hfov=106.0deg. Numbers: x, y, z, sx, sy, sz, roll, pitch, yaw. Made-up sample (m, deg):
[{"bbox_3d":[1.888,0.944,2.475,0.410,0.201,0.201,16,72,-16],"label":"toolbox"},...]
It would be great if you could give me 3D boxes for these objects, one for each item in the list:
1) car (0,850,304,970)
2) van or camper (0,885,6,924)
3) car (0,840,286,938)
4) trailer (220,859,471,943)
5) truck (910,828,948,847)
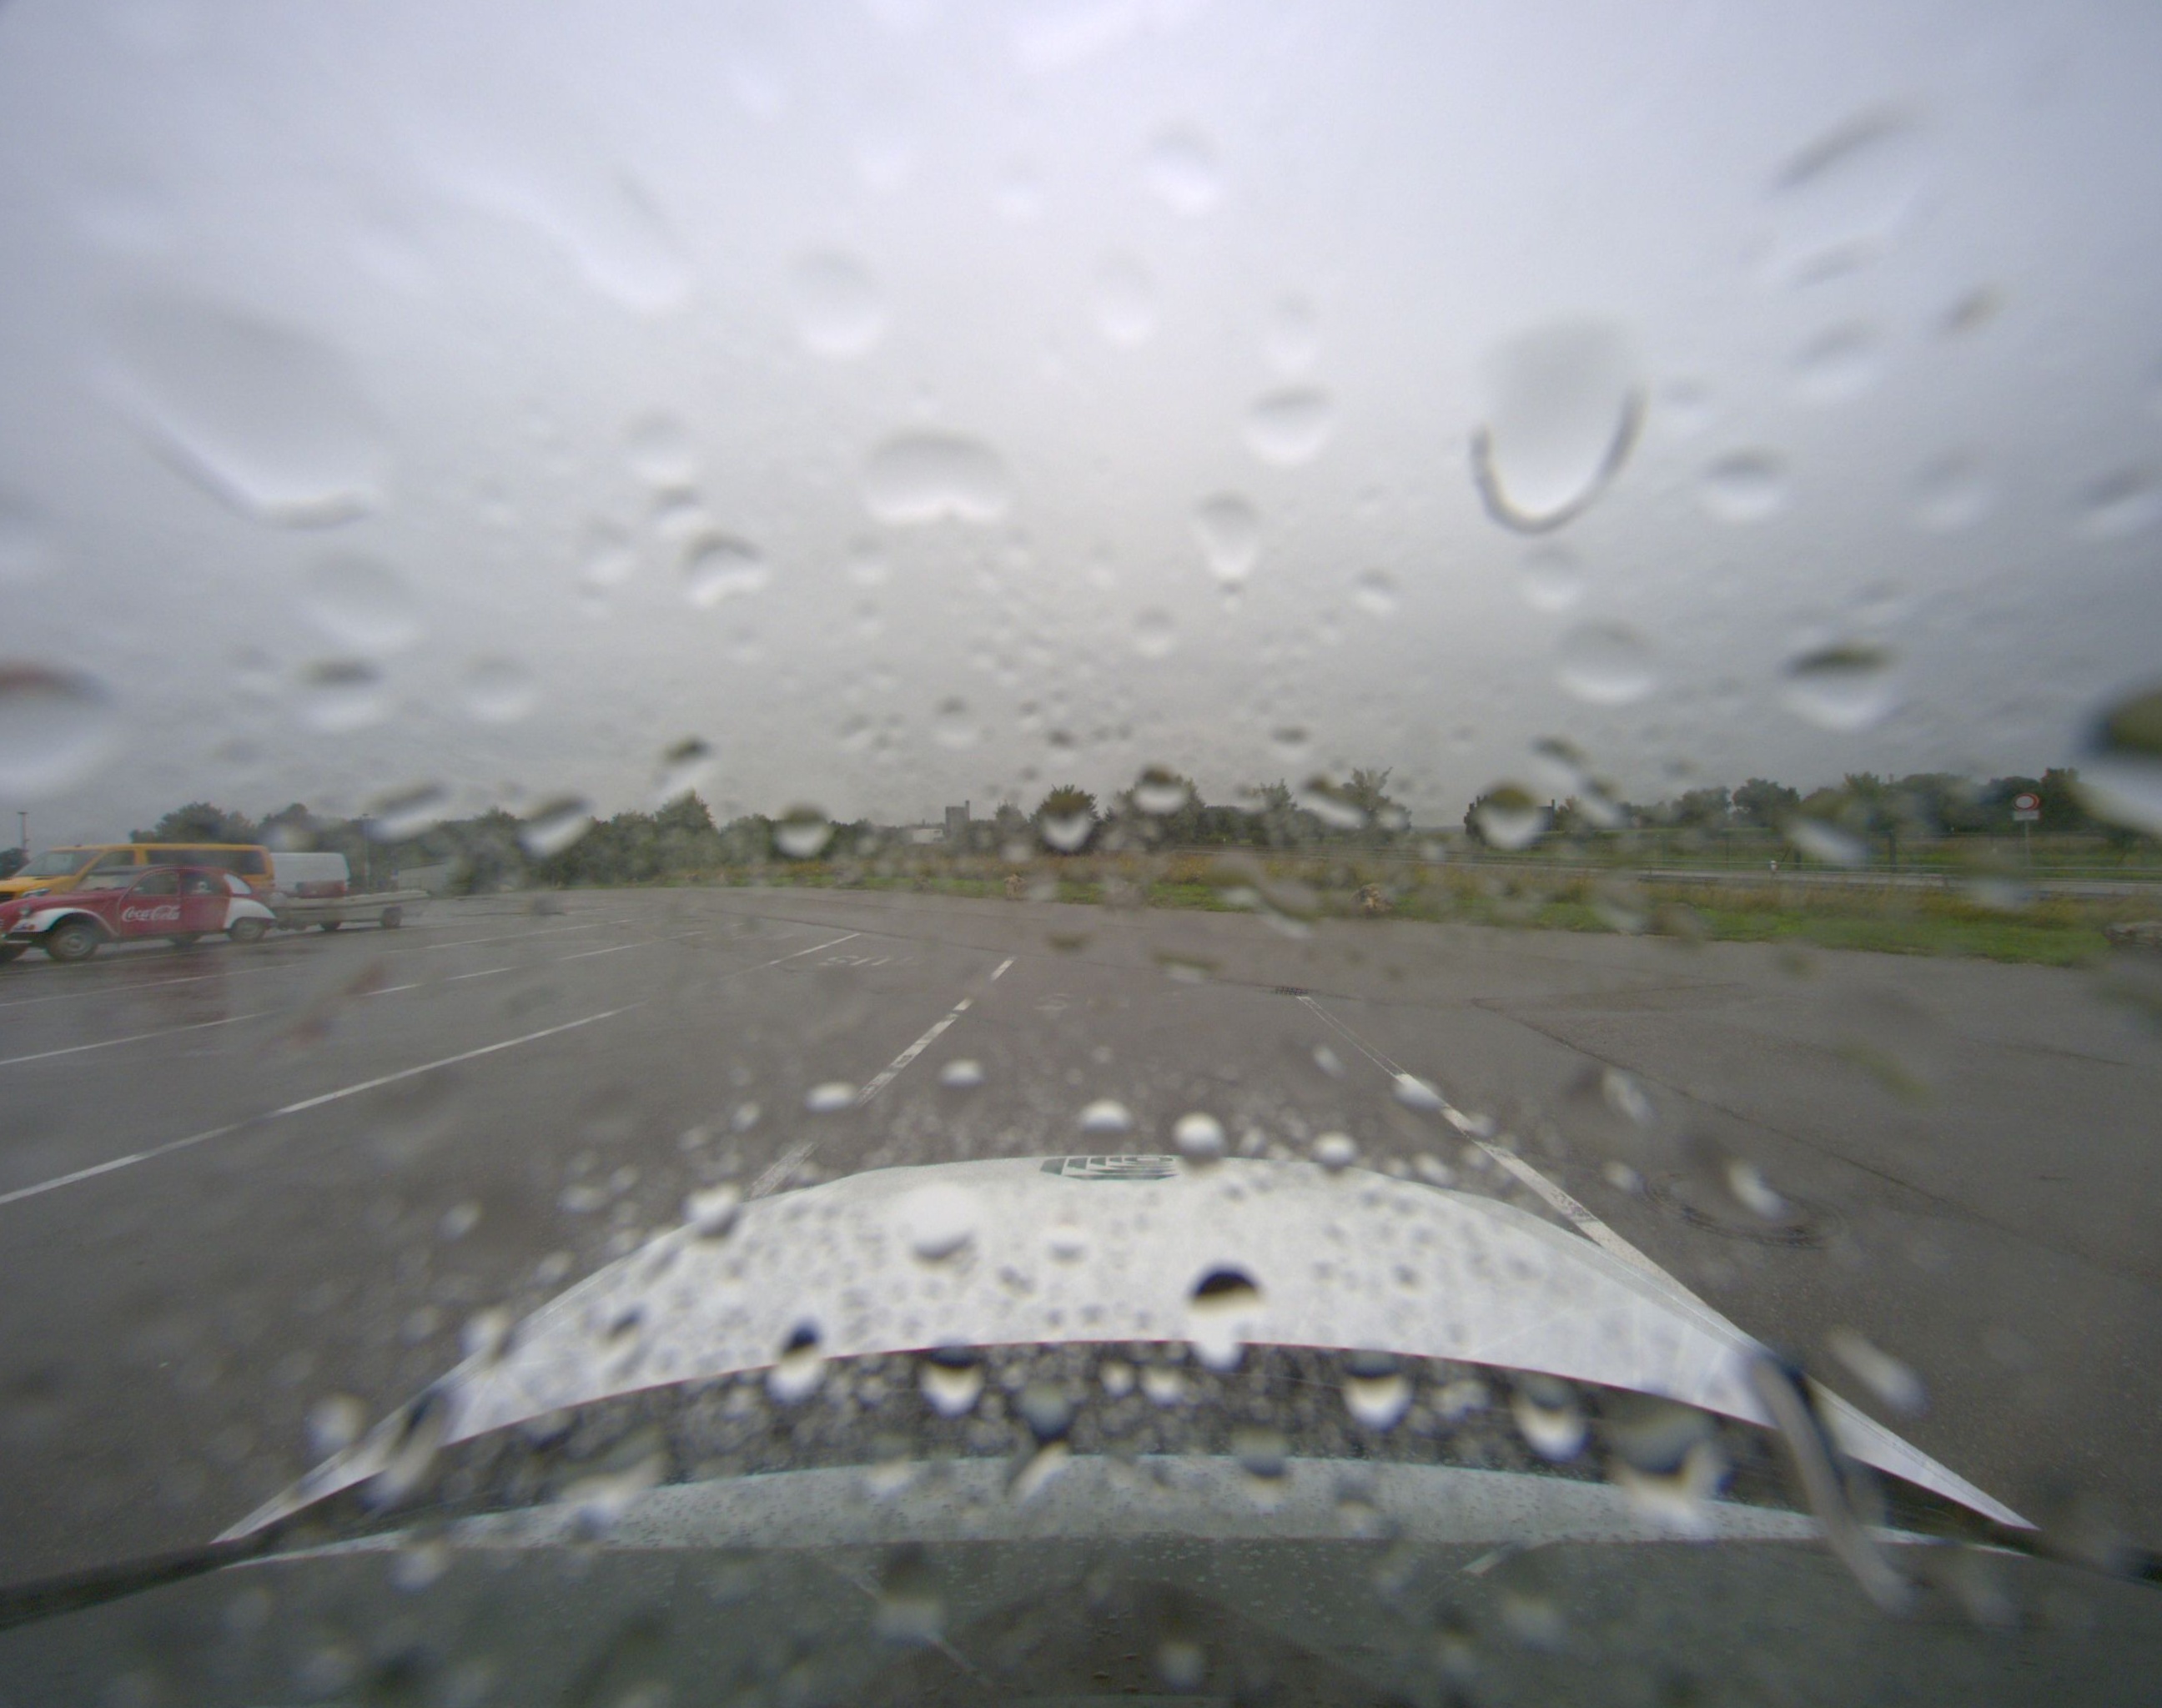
[{"bbox_3d":[-16.525,0.862,14.224,1.813,1.777,4.006,-2,0,5],"label":"car"},{"bbox_3d":[-62.570,2.890,46.018,3.948,2.166,2.013,-2,-1,34],"label":"van or camper"},{"bbox_3d":[-26.669,0.912,23.147,1.986,2.380,6.028,-4,0,2],"label":"car"},{"bbox_3d":[-16.152,0.947,18.211,1.687,1.532,4.006,-2,0,5],"label":"trailer"},{"bbox_3d":[-27.365,-2.945,146.469,2.764,3.391,7.967,-1,0,-44],"label":"truck"}]
